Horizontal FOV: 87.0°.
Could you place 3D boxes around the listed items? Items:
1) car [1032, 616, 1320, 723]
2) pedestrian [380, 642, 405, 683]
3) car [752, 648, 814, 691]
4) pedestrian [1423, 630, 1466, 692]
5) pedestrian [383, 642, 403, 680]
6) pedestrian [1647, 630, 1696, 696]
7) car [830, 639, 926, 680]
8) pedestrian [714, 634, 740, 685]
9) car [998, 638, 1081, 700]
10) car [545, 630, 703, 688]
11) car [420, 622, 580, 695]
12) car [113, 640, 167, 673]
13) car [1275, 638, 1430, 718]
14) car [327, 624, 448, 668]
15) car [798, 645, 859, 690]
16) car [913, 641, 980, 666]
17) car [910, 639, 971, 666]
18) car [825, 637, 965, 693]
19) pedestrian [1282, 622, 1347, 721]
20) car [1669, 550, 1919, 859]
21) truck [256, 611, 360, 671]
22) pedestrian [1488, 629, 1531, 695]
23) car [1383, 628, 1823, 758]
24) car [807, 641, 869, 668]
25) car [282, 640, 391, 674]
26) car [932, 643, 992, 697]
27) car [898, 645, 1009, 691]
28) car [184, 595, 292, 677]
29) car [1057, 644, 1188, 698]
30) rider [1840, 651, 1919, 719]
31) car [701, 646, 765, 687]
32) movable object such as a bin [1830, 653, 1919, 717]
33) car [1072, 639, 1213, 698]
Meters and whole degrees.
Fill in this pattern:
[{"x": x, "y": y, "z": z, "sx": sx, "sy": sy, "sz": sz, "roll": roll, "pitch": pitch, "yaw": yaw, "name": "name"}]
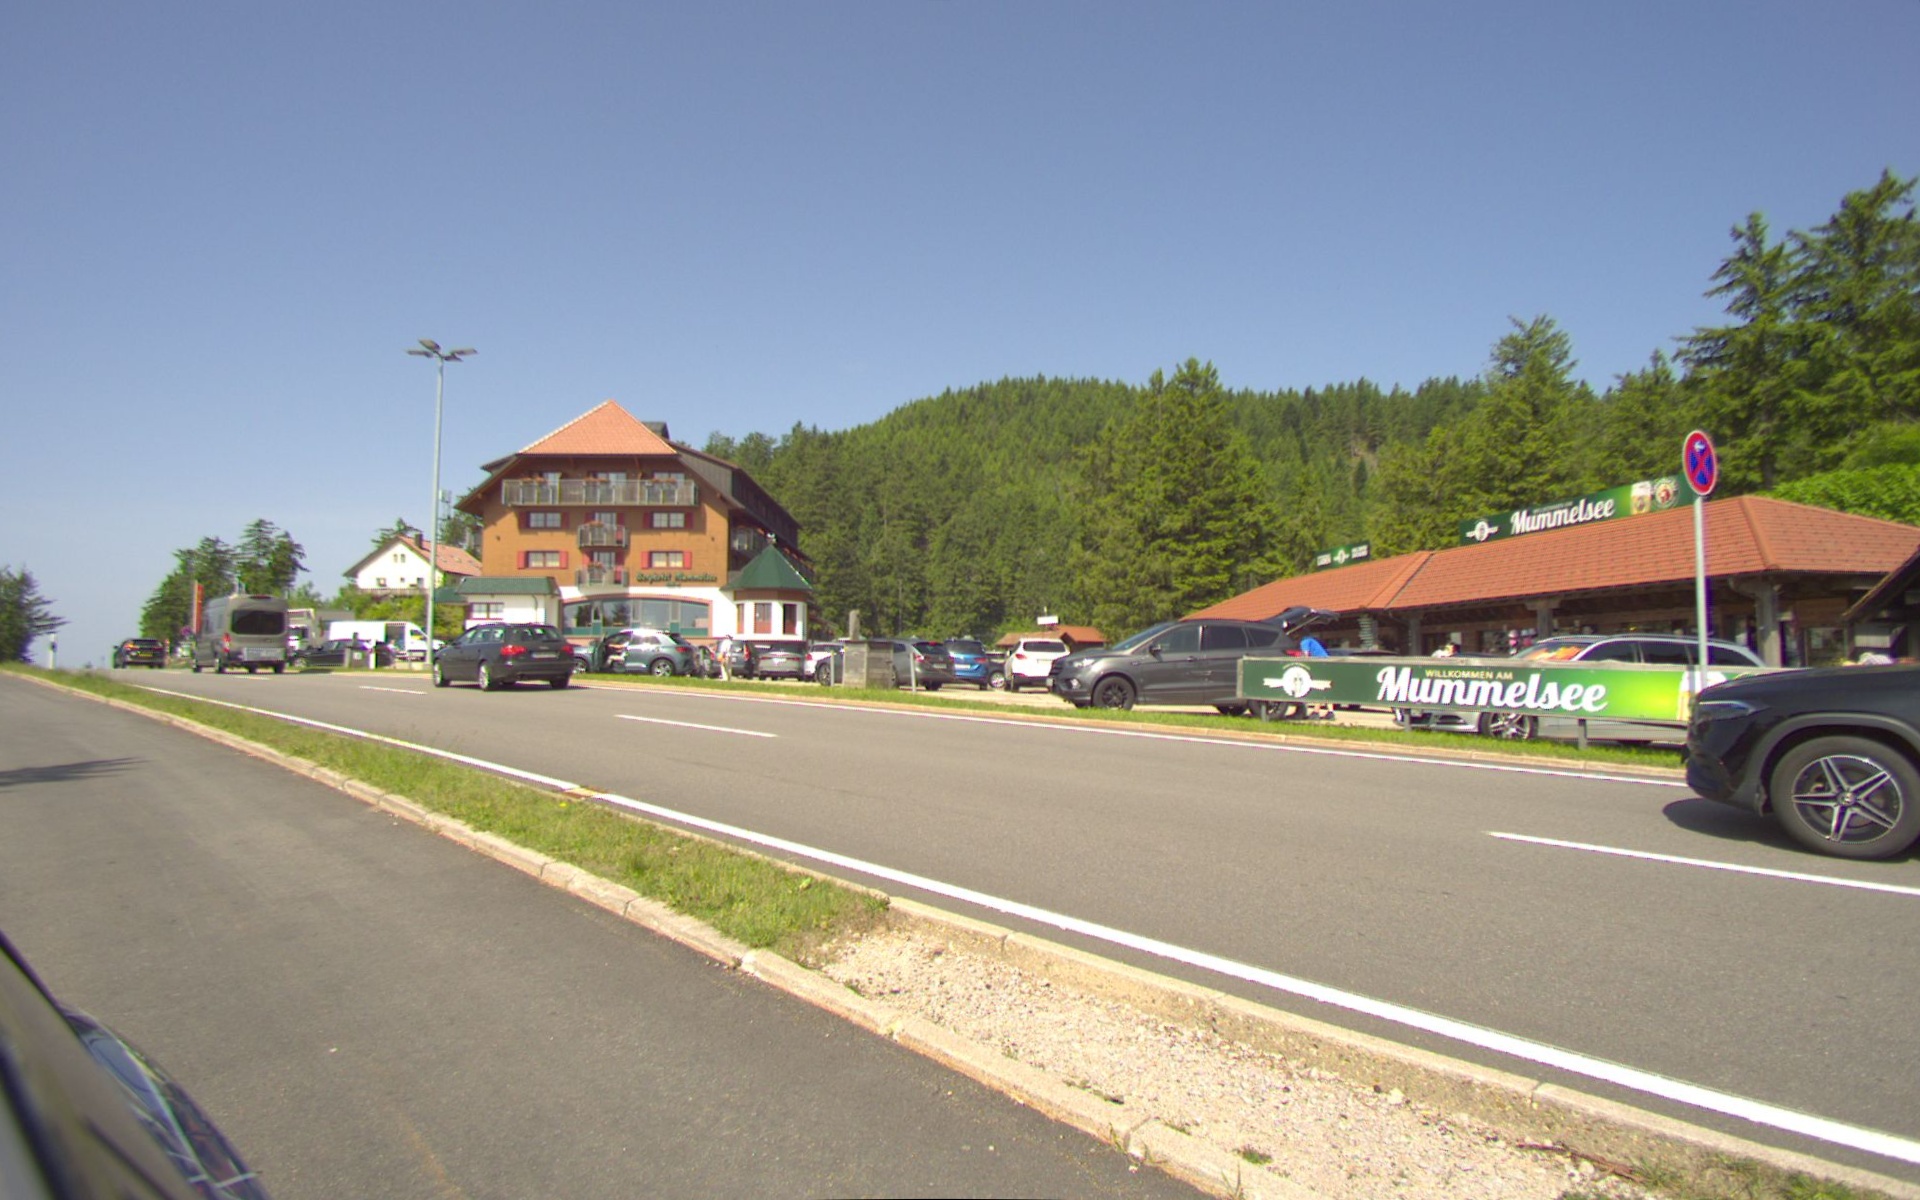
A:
[{"x": 3.616, "y": 1.187, "z": 17.369, "sx": 4.482, "sy": 1.669, "sz": 1.724, "roll": 1, "pitch": -3, "yaw": -5, "name": "car"}, {"x": -28.461, "y": 3.131, "z": 50.771, "sx": 0.796, "sy": 2.029, "sz": 0.713, "roll": -1, "pitch": -2, "yaw": 18, "name": "pedestrian"}, {"x": -6.829, "y": 2.665, "z": 39.418, "sx": 1.797, "sy": 1.524, "sz": 4.096, "roll": 1, "pitch": -3, "yaw": -2, "name": "car"}, {"x": 16.217, "y": 2.033, "z": 33.893, "sx": 0.842, "sy": 2.029, "sz": 0.966, "roll": 1, "pitch": -2, "yaw": -9, "name": "pedestrian"}, {"x": -28.486, "y": 3.042, "z": 50.833, "sx": 0.663, "sy": 1.878, "sz": 0.752, "roll": 3, "pitch": -4, "yaw": -40, "name": "pedestrian"}, {"x": 19.352, "y": 1.712, "z": 27.536, "sx": 0.740, "sy": 1.750, "sz": 0.802, "roll": 0, "pitch": -2, "yaw": 6, "name": "pedestrian"}, {"x": -3.530, "y": 2.552, "z": 43.681, "sx": 4.033, "sy": 1.641, "sz": 1.826, "roll": 1, "pitch": -3, "yaw": -4, "name": "car"}, {"x": -7.639, "y": 1.950, "z": 33.135, "sx": 0.733, "sy": 1.637, "sz": 0.685, "roll": 1, "pitch": -3, "yaw": -17, "name": "pedestrian"}, {"x": 2.330, "y": 2.048, "z": 30.737, "sx": 1.892, "sy": 1.729, "sz": 4.098, "roll": 1, "pitch": -3, "yaw": -4, "name": "car"}, {"x": -10.134, "y": 1.800, "z": 30.800, "sx": 4.206, "sy": 1.641, "sz": 1.826, "roll": 1, "pitch": -3, "yaw": -4, "name": "car"}, {"x": -10.138, "y": 1.239, "z": 22.159, "sx": 4.452, "sy": 1.449, "sz": 1.686, "roll": -2, "pitch": -4, "yaw": 45, "name": "car"}, {"x": -44.718, "y": 3.032, "z": 55.144, "sx": 4.130, "sy": 1.695, "sz": 1.697, "roll": -2, "pitch": -3, "yaw": 43, "name": "car"}, {"x": 9.219, "y": 1.804, "z": 24.183, "sx": 1.892, "sy": 1.729, "sz": 4.098, "roll": 1, "pitch": -3, "yaw": -4, "name": "car"}, {"x": -38.227, "y": 3.113, "z": 67.763, "sx": 6.845, "sy": 2.812, "sz": 2.675, "roll": 2, "pitch": -3, "yaw": -29, "name": "car"}, {"x": -4.712, "y": 2.408, "z": 36.700, "sx": 1.797, "sy": 1.524, "sz": 4.096, "roll": 1, "pitch": -3, "yaw": -2, "name": "car"}, {"x": -1.034, "y": 3.923, "z": 73.757, "sx": 4.774, "sy": 1.729, "sz": 1.921, "roll": 1, "pitch": -3, "yaw": -3, "name": "car"}, {"x": -1.369, "y": 3.616, "z": 69.667, "sx": 4.034, "sy": 1.729, "sz": 1.921, "roll": 1, "pitch": -3, "yaw": -3, "name": "car"}, {"x": -1.895, "y": 1.795, "z": 28.529, "sx": 4.001, "sy": 1.441, "sz": 1.697, "roll": -2, "pitch": -4, "yaw": 44, "name": "car"}, {"x": 6.105, "y": 1.222, "z": 17.448, "sx": 0.734, "sy": 1.648, "sz": 0.848, "roll": 1, "pitch": -3, "yaw": -7, "name": "pedestrian"}, {"x": 6.673, "y": 0.564, "z": 5.250, "sx": 1.969, "sy": 1.660, "sz": 4.572, "roll": 3, "pitch": -3, "yaw": -42, "name": "car"}, {"x": -45.353, "y": 2.878, "z": 70.756, "sx": 2.837, "sy": 3.850, "sz": 9.035, "roll": -1, "pitch": -2, "yaw": -10, "name": "truck"}, {"x": 17.050, "y": 1.920, "z": 31.423, "sx": 0.711, "sy": 2.029, "sz": 0.929, "roll": 1, "pitch": -2, "yaw": -10, "name": "pedestrian"}, {"x": 7.878, "y": 1.132, "z": 12.670, "sx": 4.435, "sy": 1.441, "sz": 1.723, "roll": 1, "pitch": -3, "yaw": -3, "name": "car"}, {"x": -8.203, "y": 3.674, "z": 68.390, "sx": 4.034, "sy": 1.729, "sz": 1.921, "roll": 1, "pitch": -3, "yaw": -3, "name": "car"}, {"x": -30.013, "y": 2.752, "z": 48.817, "sx": 4.030, "sy": 1.539, "sz": 1.827, "roll": 1, "pitch": -3, "yaw": -8, "name": "car"}, {"x": 0.006, "y": 2.293, "z": 33.705, "sx": 1.797, "sy": 1.641, "sz": 4.096, "roll": 1, "pitch": -3, "yaw": -2, "name": "car"}, {"x": -0.285, "y": 2.557, "z": 38.420, "sx": 4.033, "sy": 1.641, "sz": 1.826, "roll": 1, "pitch": -3, "yaw": -4, "name": "car"}, {"x": -26.353, "y": 1.322, "z": 36.847, "sx": 5.917, "sy": 2.772, "sz": 1.989, "roll": -2, "pitch": -4, "yaw": 43, "name": "car"}, {"x": 5.520, "y": 2.412, "z": 34.665, "sx": 4.031, "sy": 1.729, "sz": 1.923, "roll": 1, "pitch": -3, "yaw": -6, "name": "car"}, {"x": 17.954, "y": 1.641, "z": 19.708, "sx": 0.829, "sy": 1.284, "sz": 0.907, "roll": 0, "pitch": -2, "yaw": 6, "name": "rider"}, {"x": -9.132, "y": 2.656, "z": 41.023, "sx": 1.797, "sy": 1.524, "sz": 4.096, "roll": 1, "pitch": -3, "yaw": -2, "name": "car"}, {"x": 18.028, "y": 1.648, "z": 19.789, "sx": 0.972, "sy": 1.198, "sz": 1.214, "roll": 0, "pitch": -2, "yaw": 6, "name": "movable object such as a bin"}, {"x": 5.732, "y": 2.161, "z": 32.082, "sx": 4.034, "sy": 1.729, "sz": 1.922, "roll": 1, "pitch": -3, "yaw": -3, "name": "car"}]
